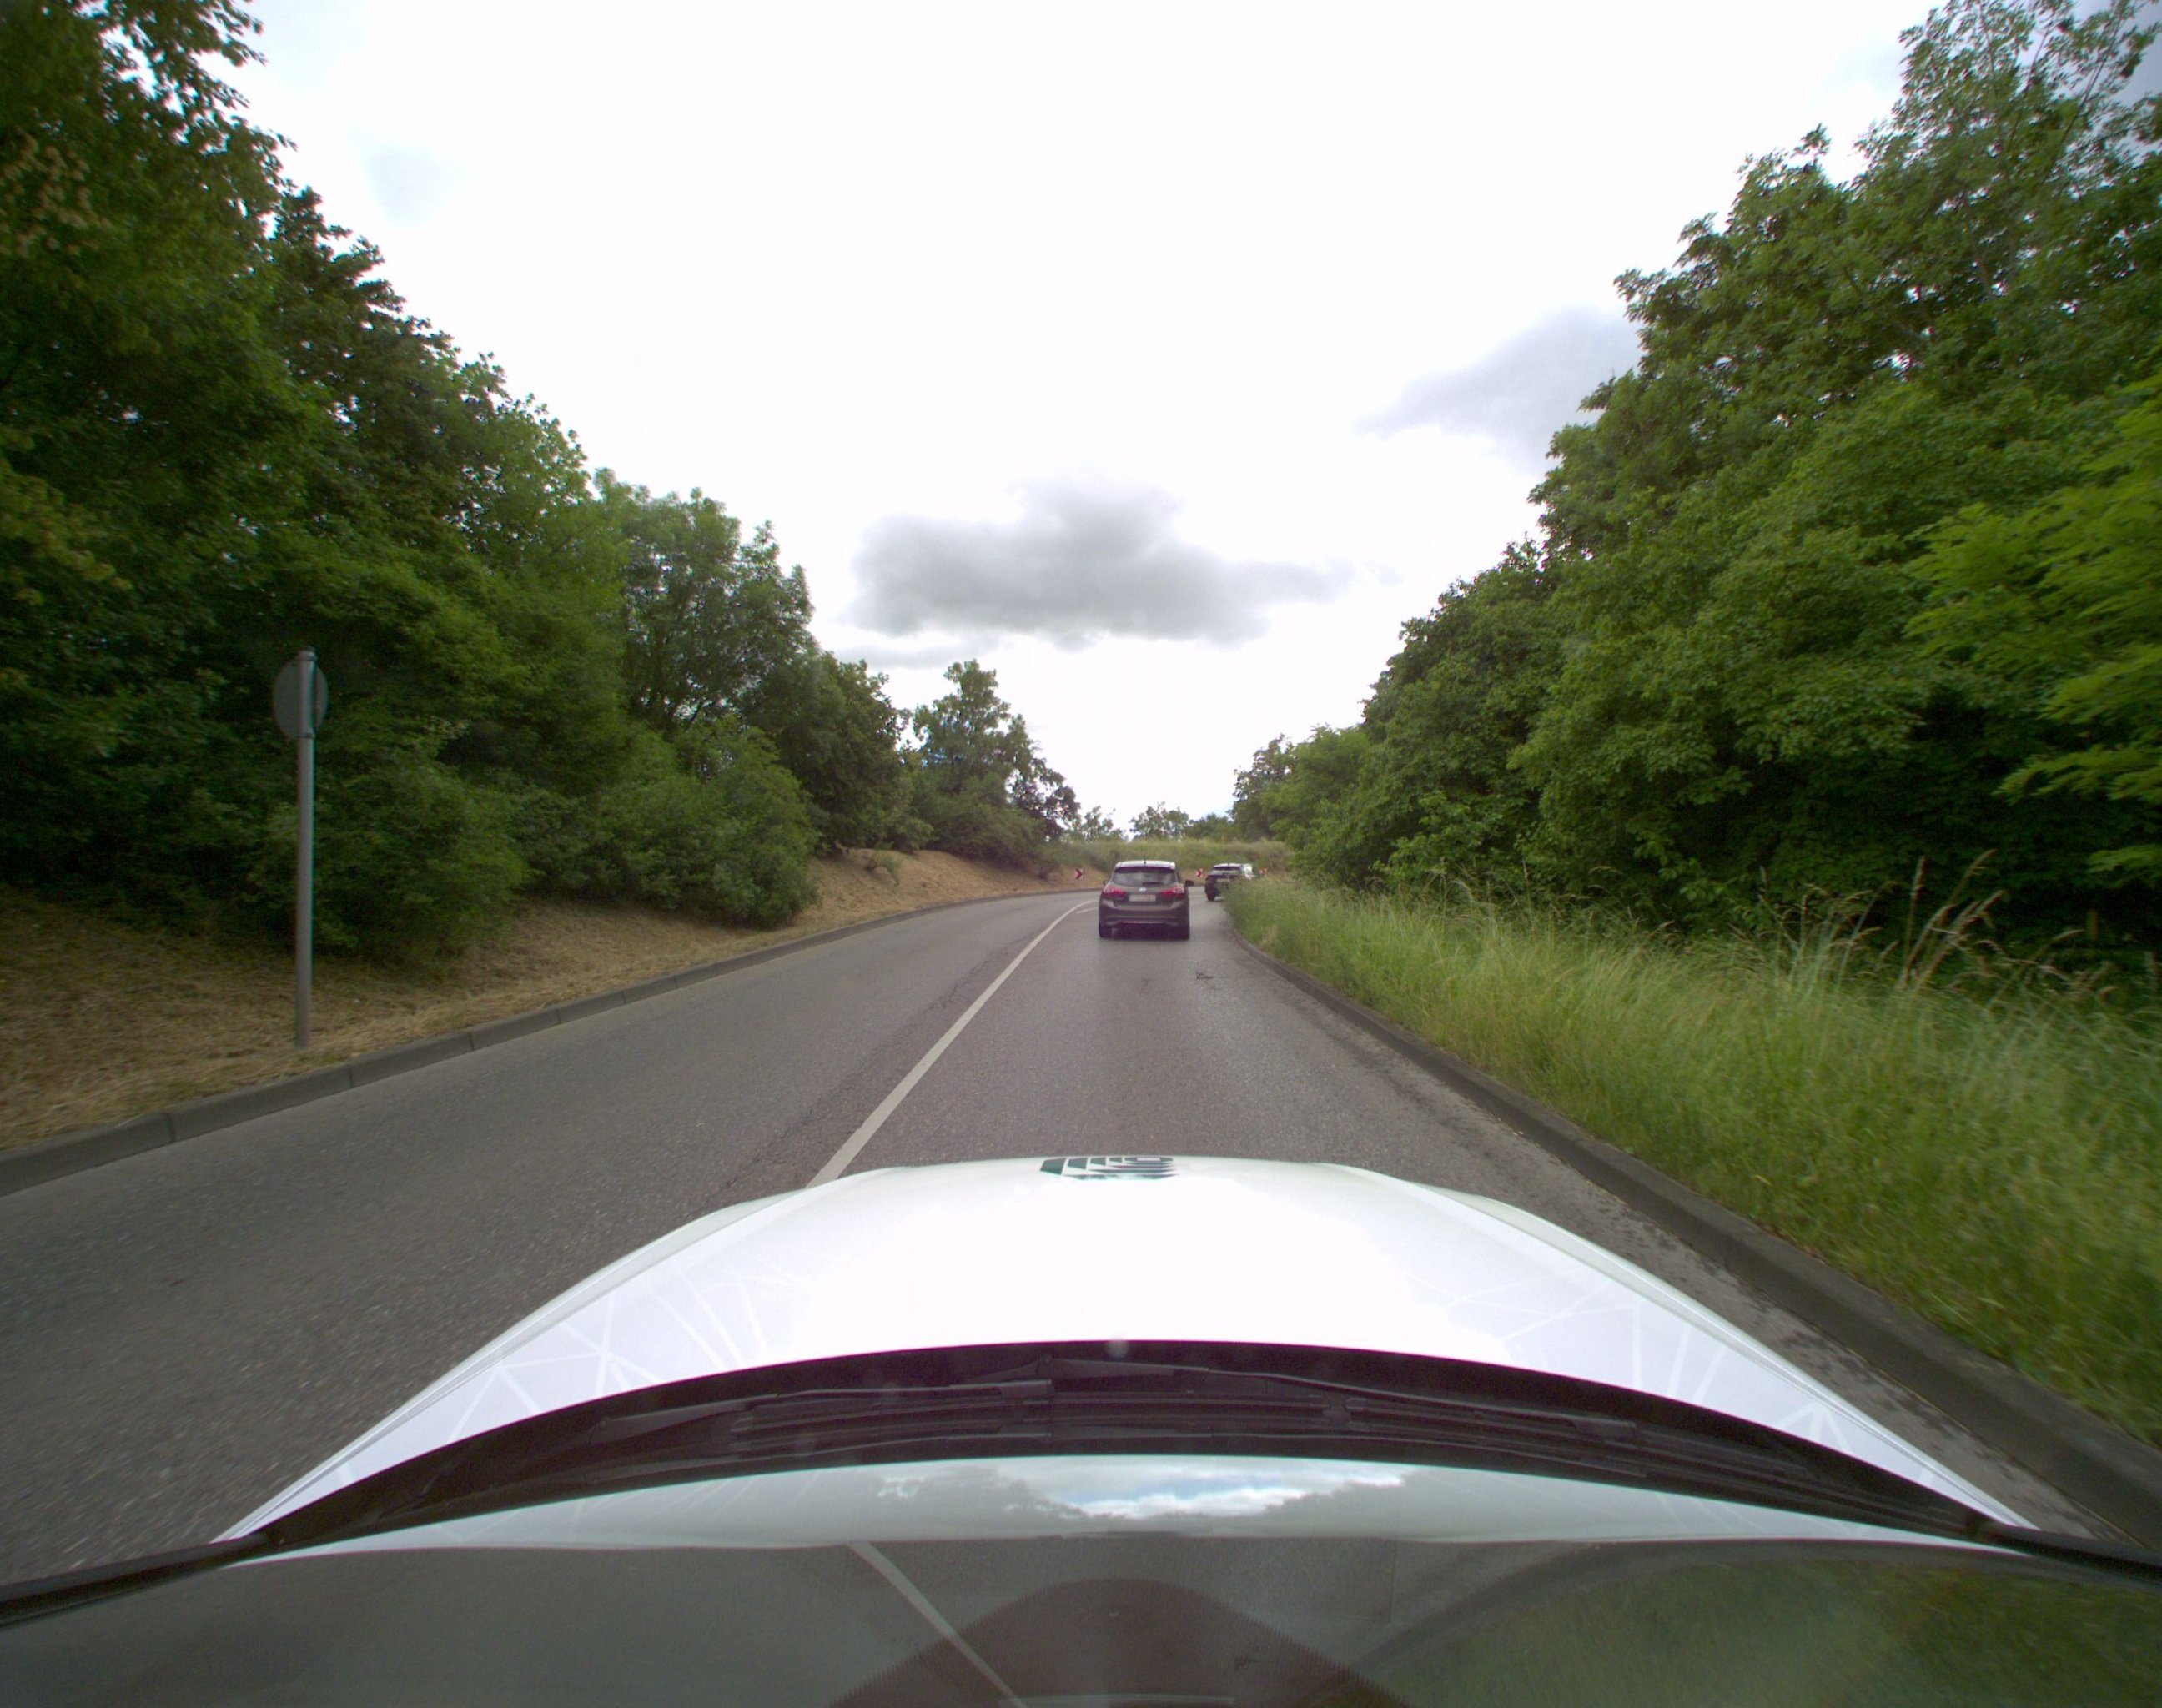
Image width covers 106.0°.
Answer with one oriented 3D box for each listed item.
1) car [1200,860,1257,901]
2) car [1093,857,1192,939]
[{"bbox_3d":[5.971,1.018,32.598,1.885,1.466,4.017,0,0,15],"label":"car"},{"bbox_3d":[1.386,0.822,17.122,1.835,1.493,4.008,0,0,7],"label":"car"}]
